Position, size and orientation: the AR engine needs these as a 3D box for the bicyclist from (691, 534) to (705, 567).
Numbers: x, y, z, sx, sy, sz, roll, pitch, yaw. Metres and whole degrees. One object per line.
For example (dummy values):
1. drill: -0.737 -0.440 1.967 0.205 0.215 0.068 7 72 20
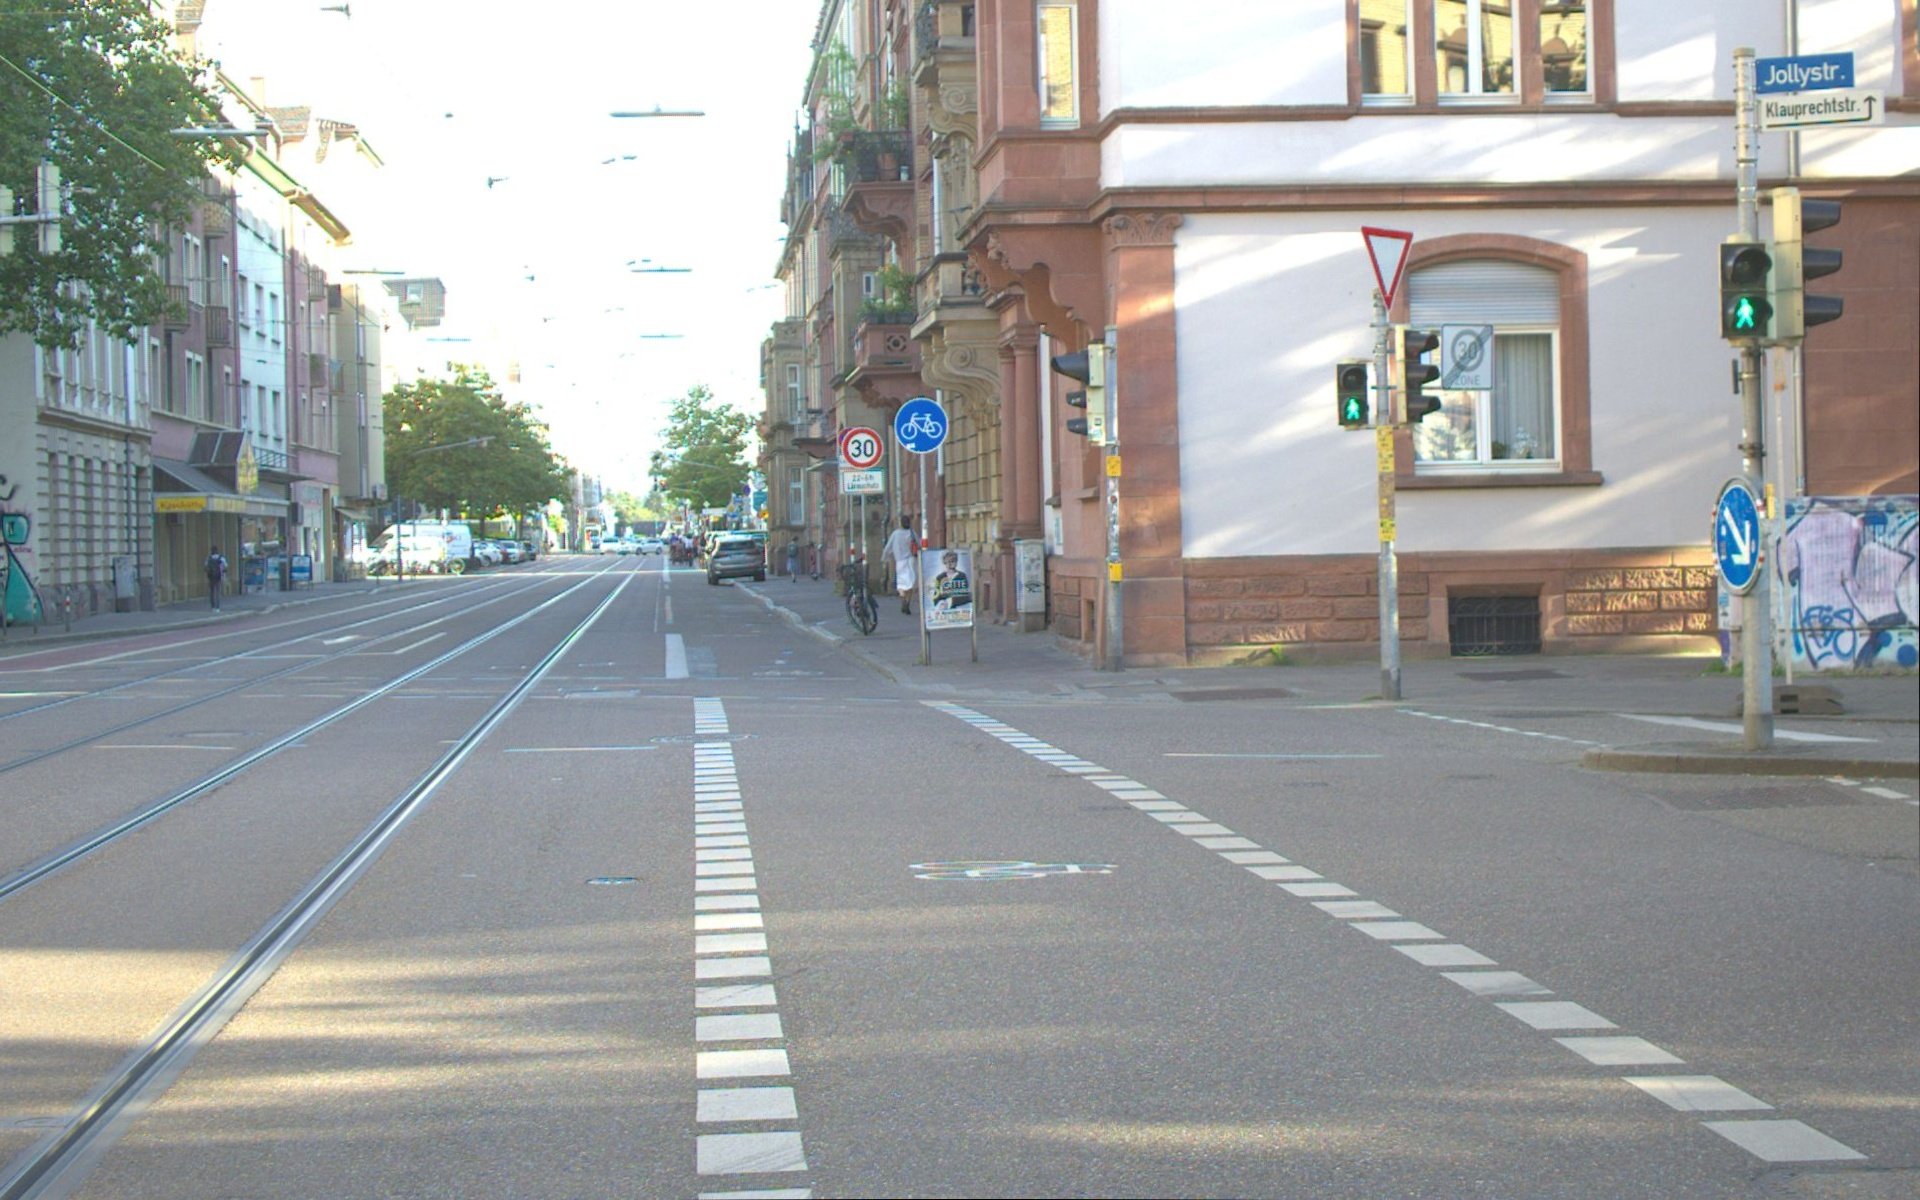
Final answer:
1. bicyclist: -12.299 -2.321 161.343 0.575 1.548 0.595 -1 1 -3

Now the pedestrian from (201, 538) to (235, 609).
1. pedestrian: -18.173 -0.659 84.175 0.701 1.722 0.648 -1 1 -5

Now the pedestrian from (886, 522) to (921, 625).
1. pedestrian: -0.985 -0.457 59.725 0.544 1.774 0.504 -1 1 -4

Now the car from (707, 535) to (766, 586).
1. car: -7.678 -1.378 118.295 1.950 1.678 4.001 -1 1 -3

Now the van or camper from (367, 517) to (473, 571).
1. van or camper: -26.220 -2.725 167.007 4.635 2.554 2.000 -1 0 -35

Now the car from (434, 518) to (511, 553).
1. car: -28.685 -3.790 202.375 3.987 2.007 2.000 -2 1 -29

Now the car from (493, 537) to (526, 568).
1. car: -30.024 -3.146 229.232 1.993 2.007 4.001 -1 1 -5

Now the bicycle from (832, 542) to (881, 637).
1. bicycle: -1.494 -0.166 49.206 0.653 1.319 2.177 -1 1 -2

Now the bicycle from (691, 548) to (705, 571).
1. bicycle: -12.288 -1.909 161.355 0.575 1.026 1.895 -1 1 -3

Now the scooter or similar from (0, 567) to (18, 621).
1. scooter or similar: -19.163 -0.116 68.506 0.516 1.053 1.479 -1 1 -7

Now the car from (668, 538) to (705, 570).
1. car: -15.291 -2.555 192.267 1.993 1.722 4.001 -1 0 -5

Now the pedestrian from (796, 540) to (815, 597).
1. pedestrian: -4.856 -1.007 108.068 0.544 1.774 0.749 -1 1 -4
